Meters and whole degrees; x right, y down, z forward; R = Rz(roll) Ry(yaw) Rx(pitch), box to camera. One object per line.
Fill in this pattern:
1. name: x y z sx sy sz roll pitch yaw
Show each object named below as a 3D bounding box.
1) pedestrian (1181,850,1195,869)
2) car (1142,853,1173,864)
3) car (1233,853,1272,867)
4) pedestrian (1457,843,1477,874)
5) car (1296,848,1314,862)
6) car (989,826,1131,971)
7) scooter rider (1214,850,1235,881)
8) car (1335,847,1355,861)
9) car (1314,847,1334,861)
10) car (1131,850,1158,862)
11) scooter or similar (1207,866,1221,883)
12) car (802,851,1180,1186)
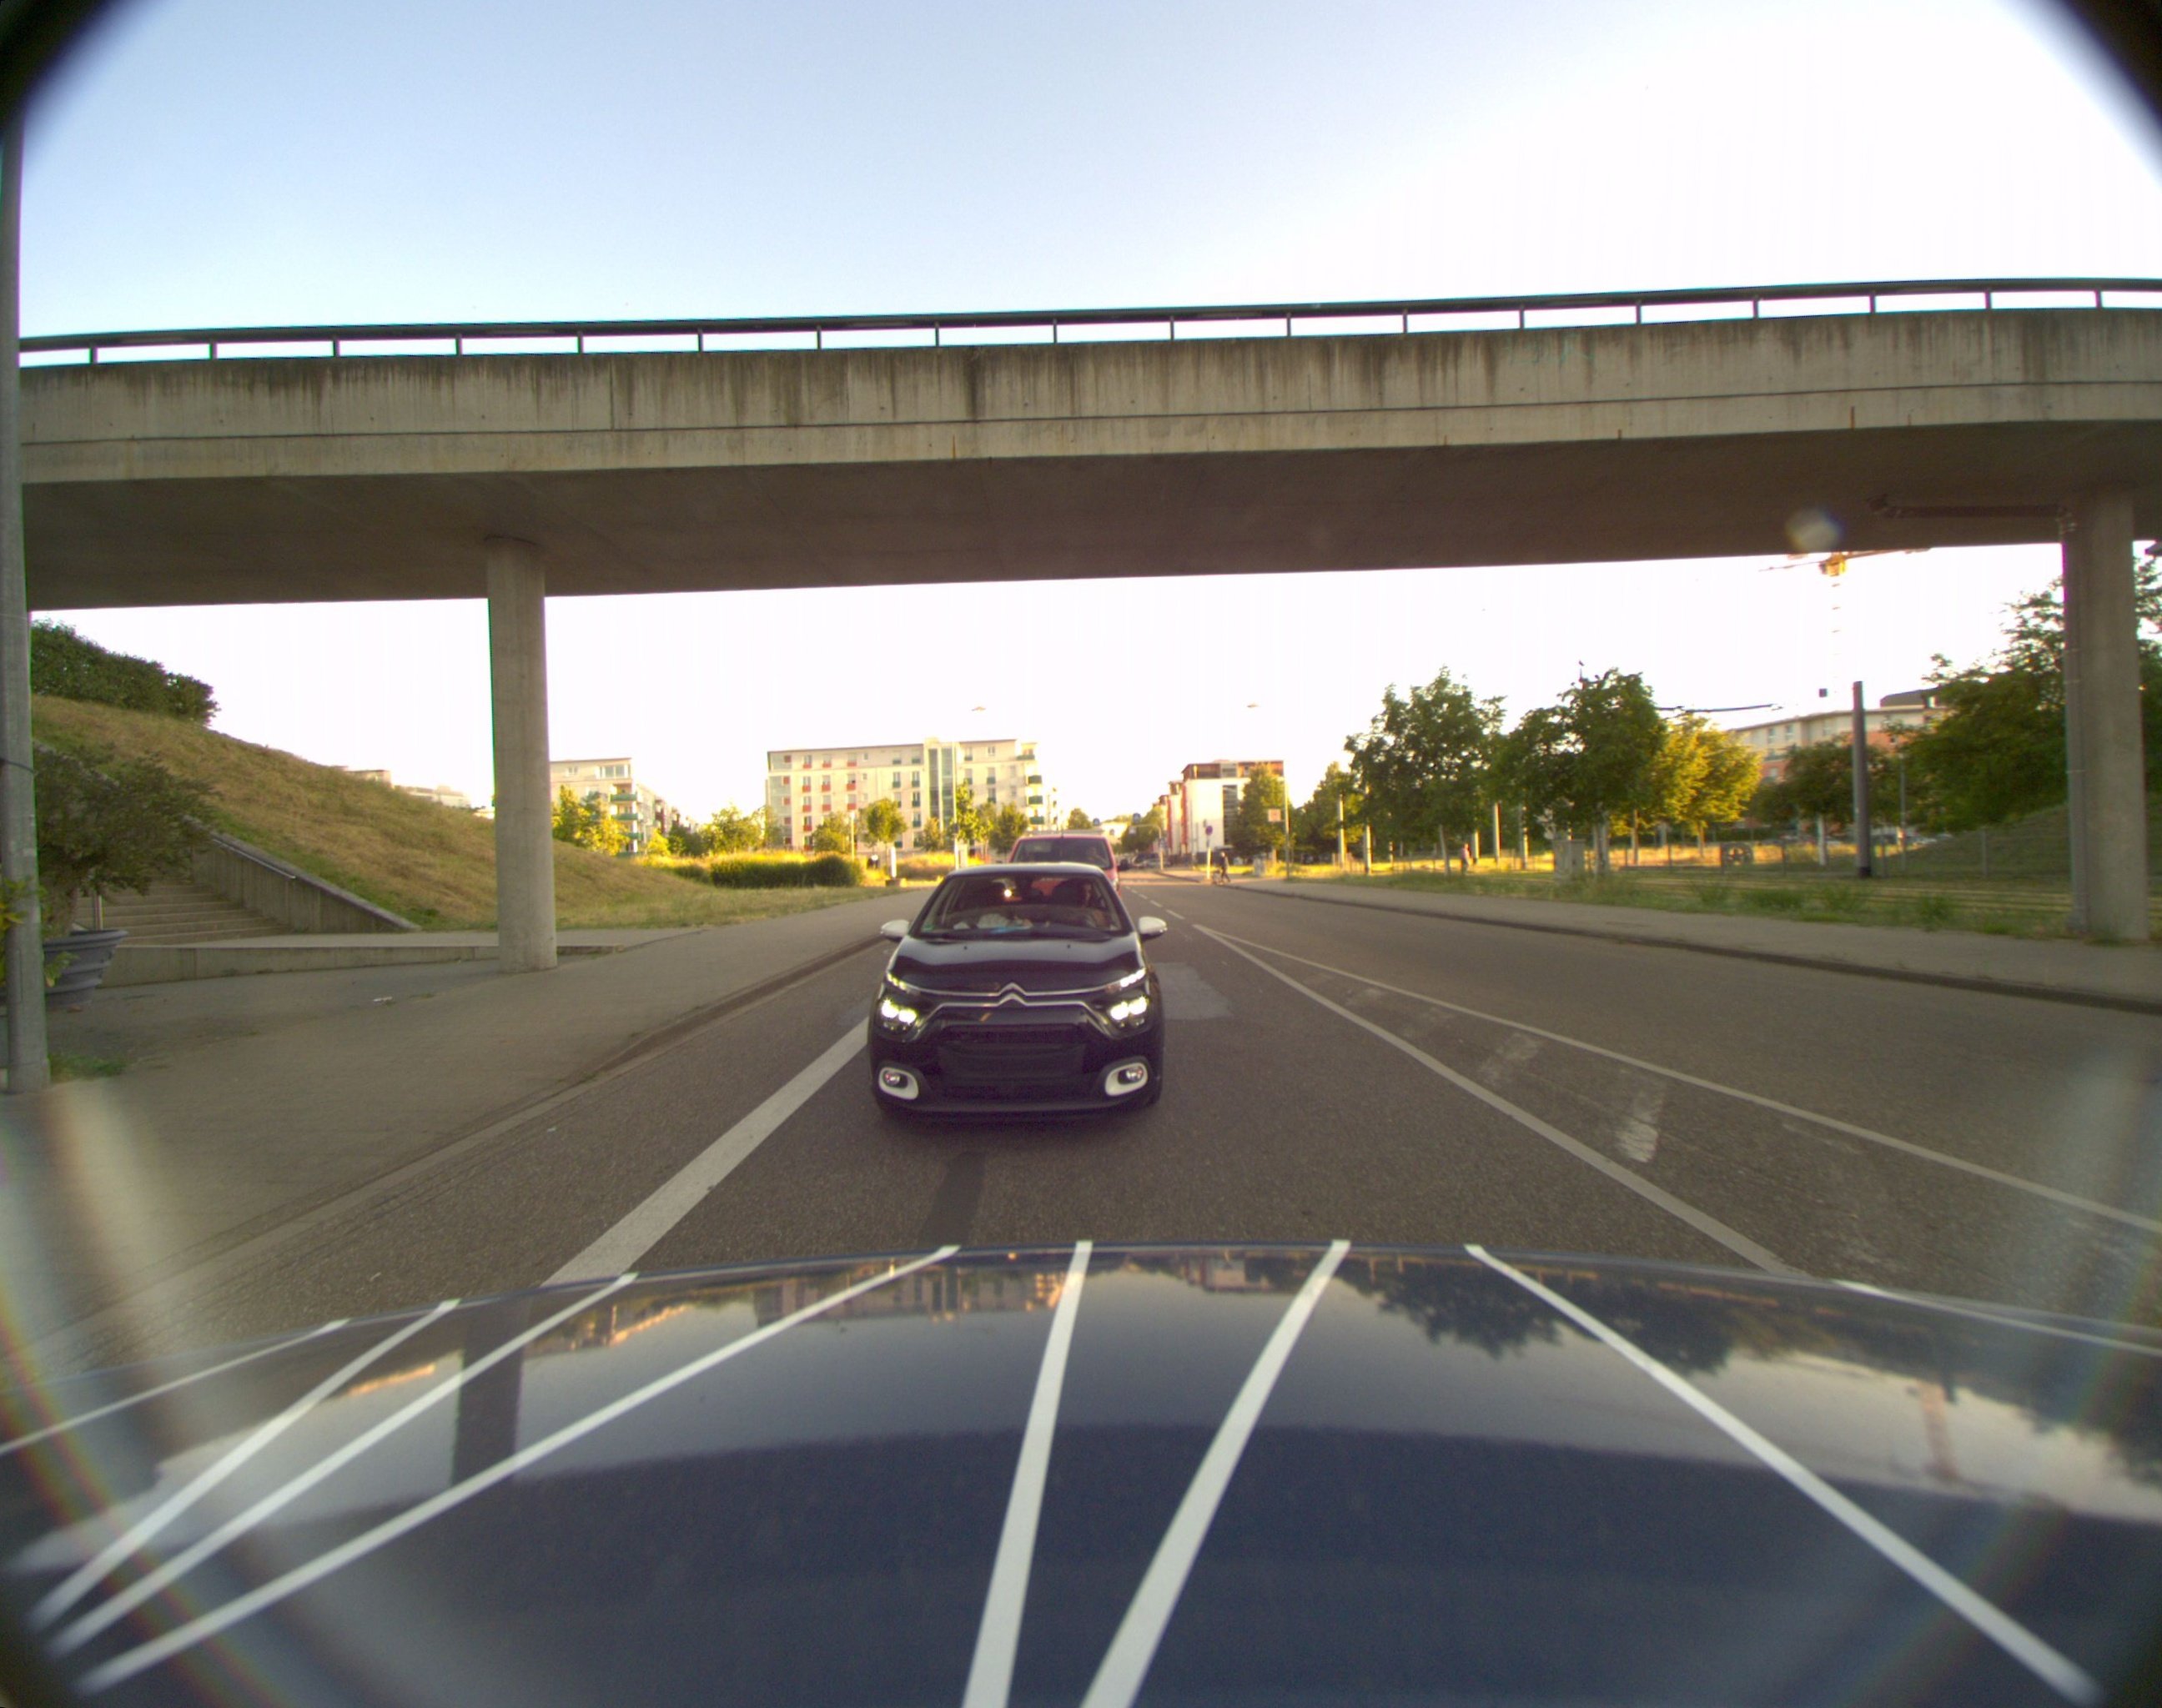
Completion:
1. pedestrian: 11.845 0.574 84.163 1.088 2.002 1.141 -2 1 29
2. car: 11.454 0.655 113.992 4.387 1.550 1.839 -2 1 2
3. car: 20.552 0.712 91.046 4.004 1.554 1.996 -2 0 -22
4. pedestrian: 20.183 0.234 39.728 0.779 1.602 0.417 -2 0 12
5. car: 28.652 0.135 97.209 1.869 1.710 3.848 -2 0 12
6. car: -0.314 0.644 13.232 1.931 1.979 4.822 -3 0 -1
7. scooter rider: 7.561 0.598 39.964 0.898 1.568 0.711 -2 0 -4
8. car: 33.497 -0.050 96.577 1.869 1.710 3.848 -2 0 12
9. car: 30.986 0.044 96.850 1.869 1.710 3.848 -2 0 9
10. car: 12.032 0.320 144.169 4.745 2.002 1.999 -2 1 -2
11. scooter or similar: 7.003 1.079 39.926 0.553 0.890 0.722 -1 1 -4
12. car: -0.479 0.795 5.693 1.760 1.543 4.071 -2 0 -2
